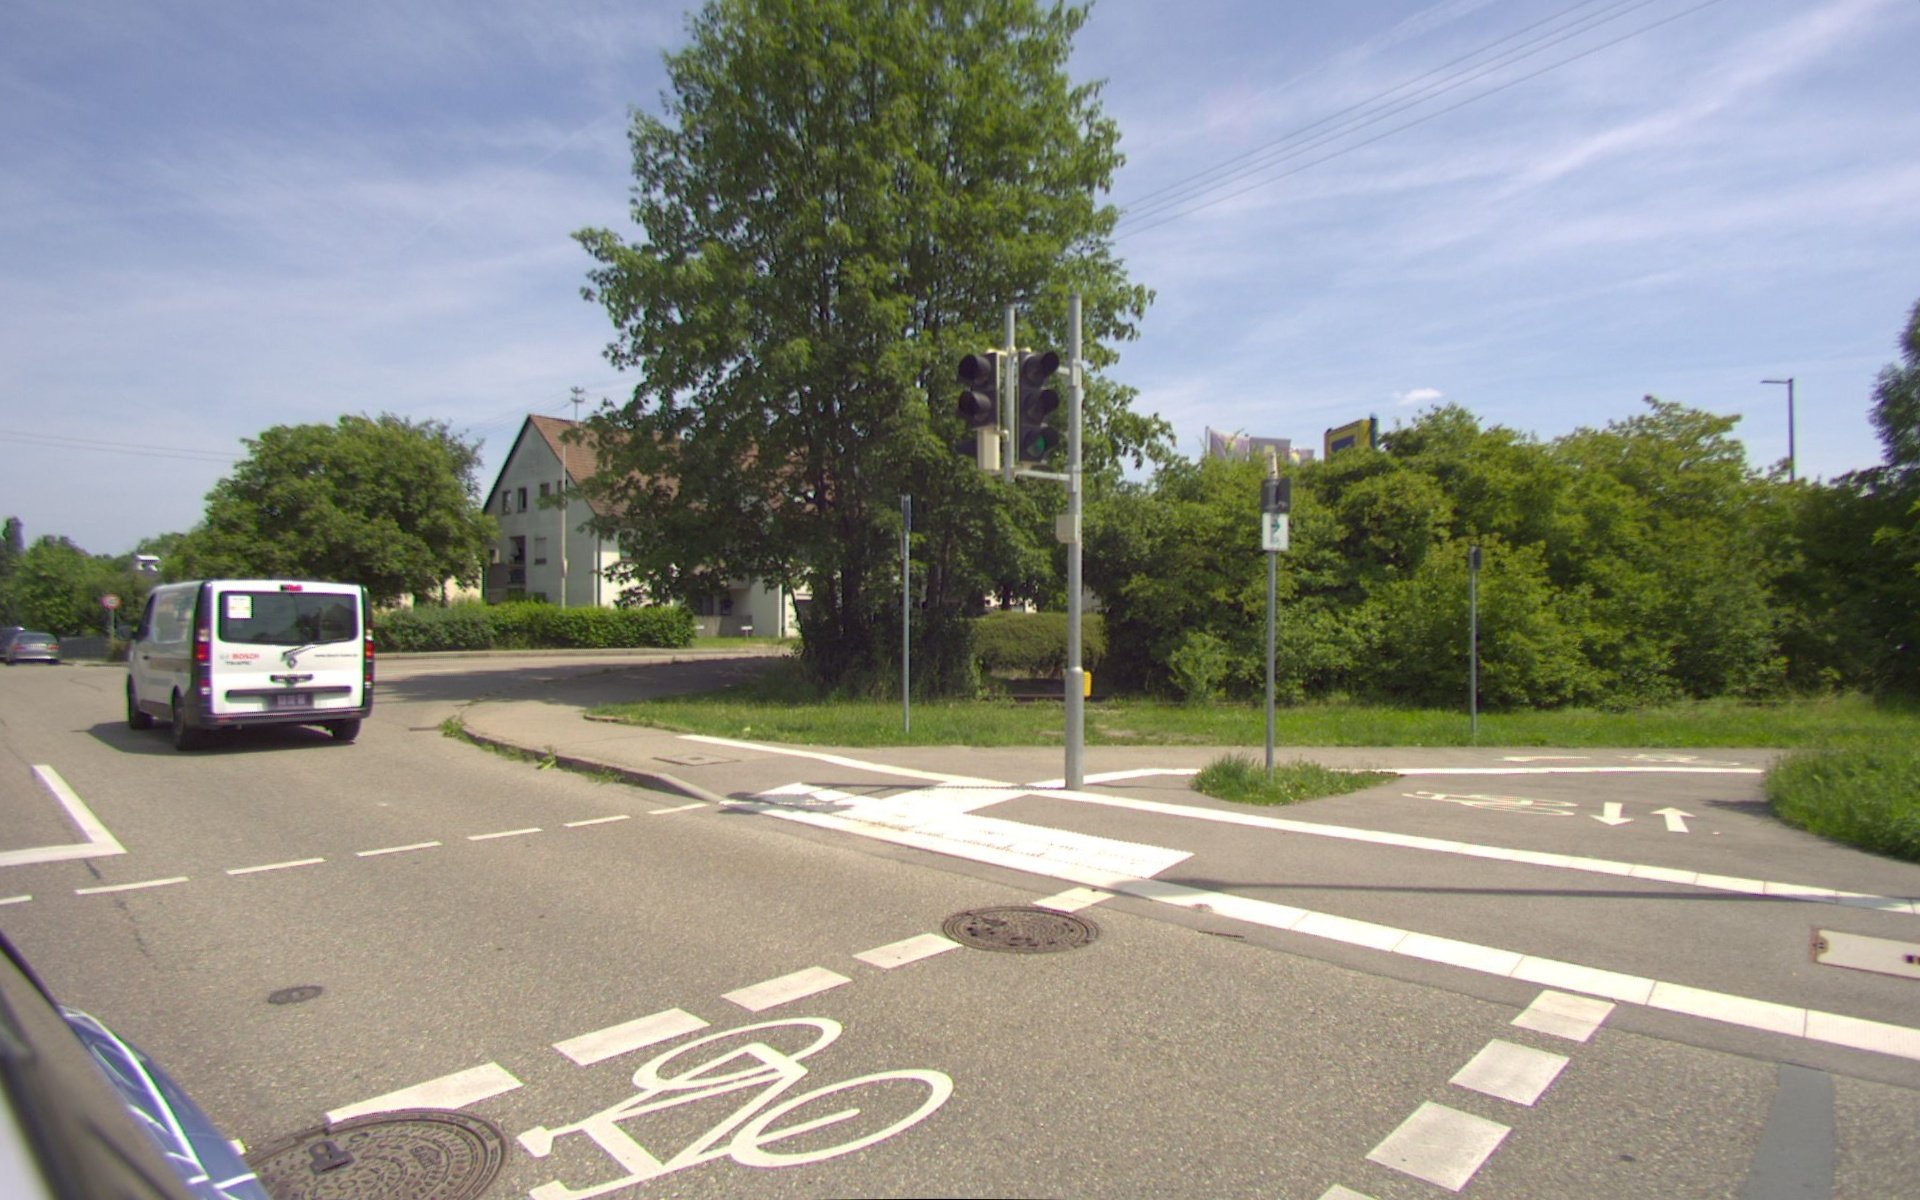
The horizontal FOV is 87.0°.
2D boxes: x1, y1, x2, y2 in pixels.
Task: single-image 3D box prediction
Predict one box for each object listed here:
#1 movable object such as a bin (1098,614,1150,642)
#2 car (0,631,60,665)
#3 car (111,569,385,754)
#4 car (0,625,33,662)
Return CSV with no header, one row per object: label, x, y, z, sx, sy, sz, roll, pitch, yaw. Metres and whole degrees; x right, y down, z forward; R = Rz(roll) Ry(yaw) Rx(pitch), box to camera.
movable object such as a bin,8.398,1.459,51.840,2.170,1.398,1.520,1,-3,-14
car,-40.692,2.073,44.165,4.410,1.405,1.760,-3,-4,44
car,-9.390,0.701,13.175,4.902,1.980,1.859,-1,-2,42
car,-52.991,2.448,56.032,4.868,1.935,1.876,-4,-5,42
